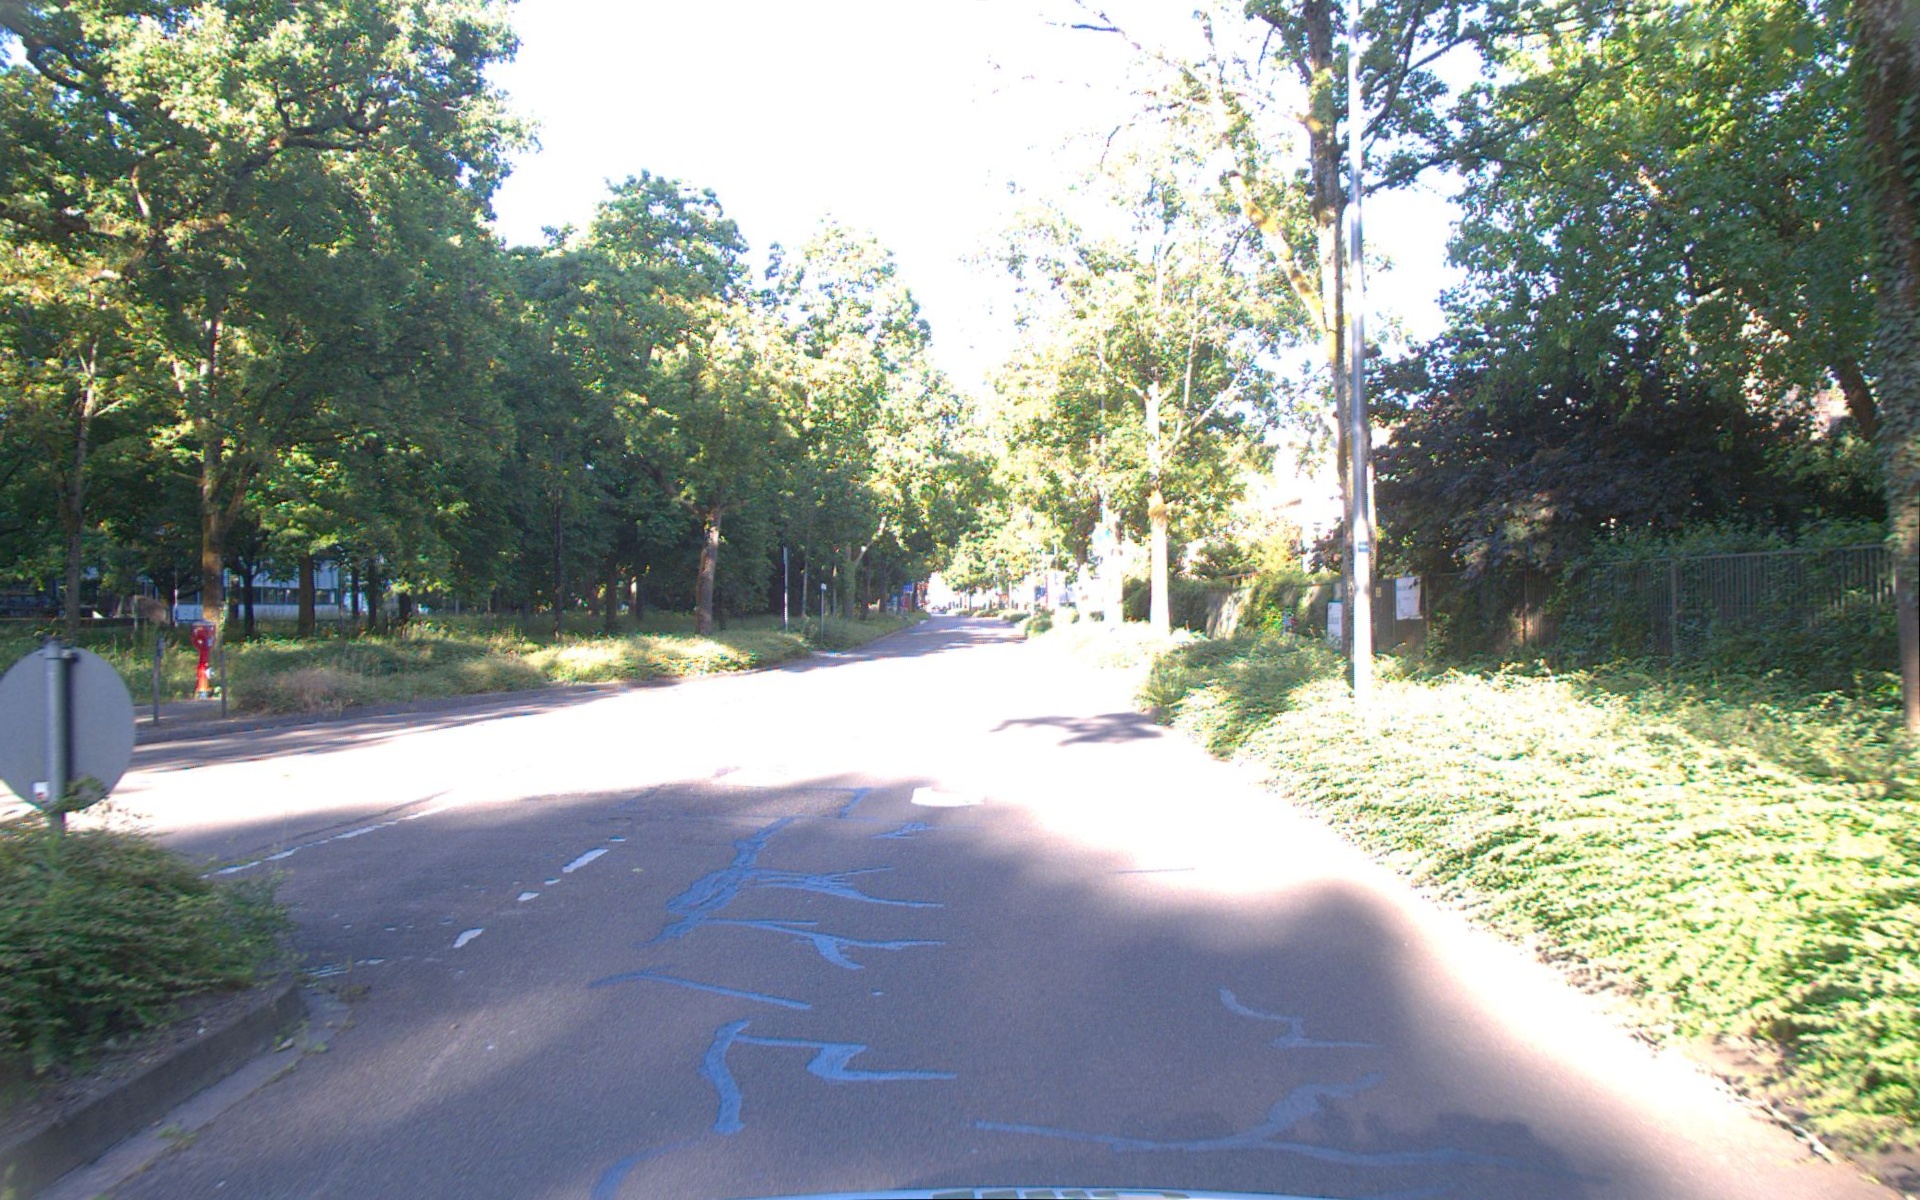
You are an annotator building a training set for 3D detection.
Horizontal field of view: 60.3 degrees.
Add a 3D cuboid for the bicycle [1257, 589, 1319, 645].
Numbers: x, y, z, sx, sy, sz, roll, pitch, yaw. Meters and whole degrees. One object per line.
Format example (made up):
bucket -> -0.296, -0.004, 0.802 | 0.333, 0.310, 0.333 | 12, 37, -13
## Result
bicycle -> 7.658, 0.382, 38.538 | 0.866, 1.221, 2.325 | -3, 0, 25
